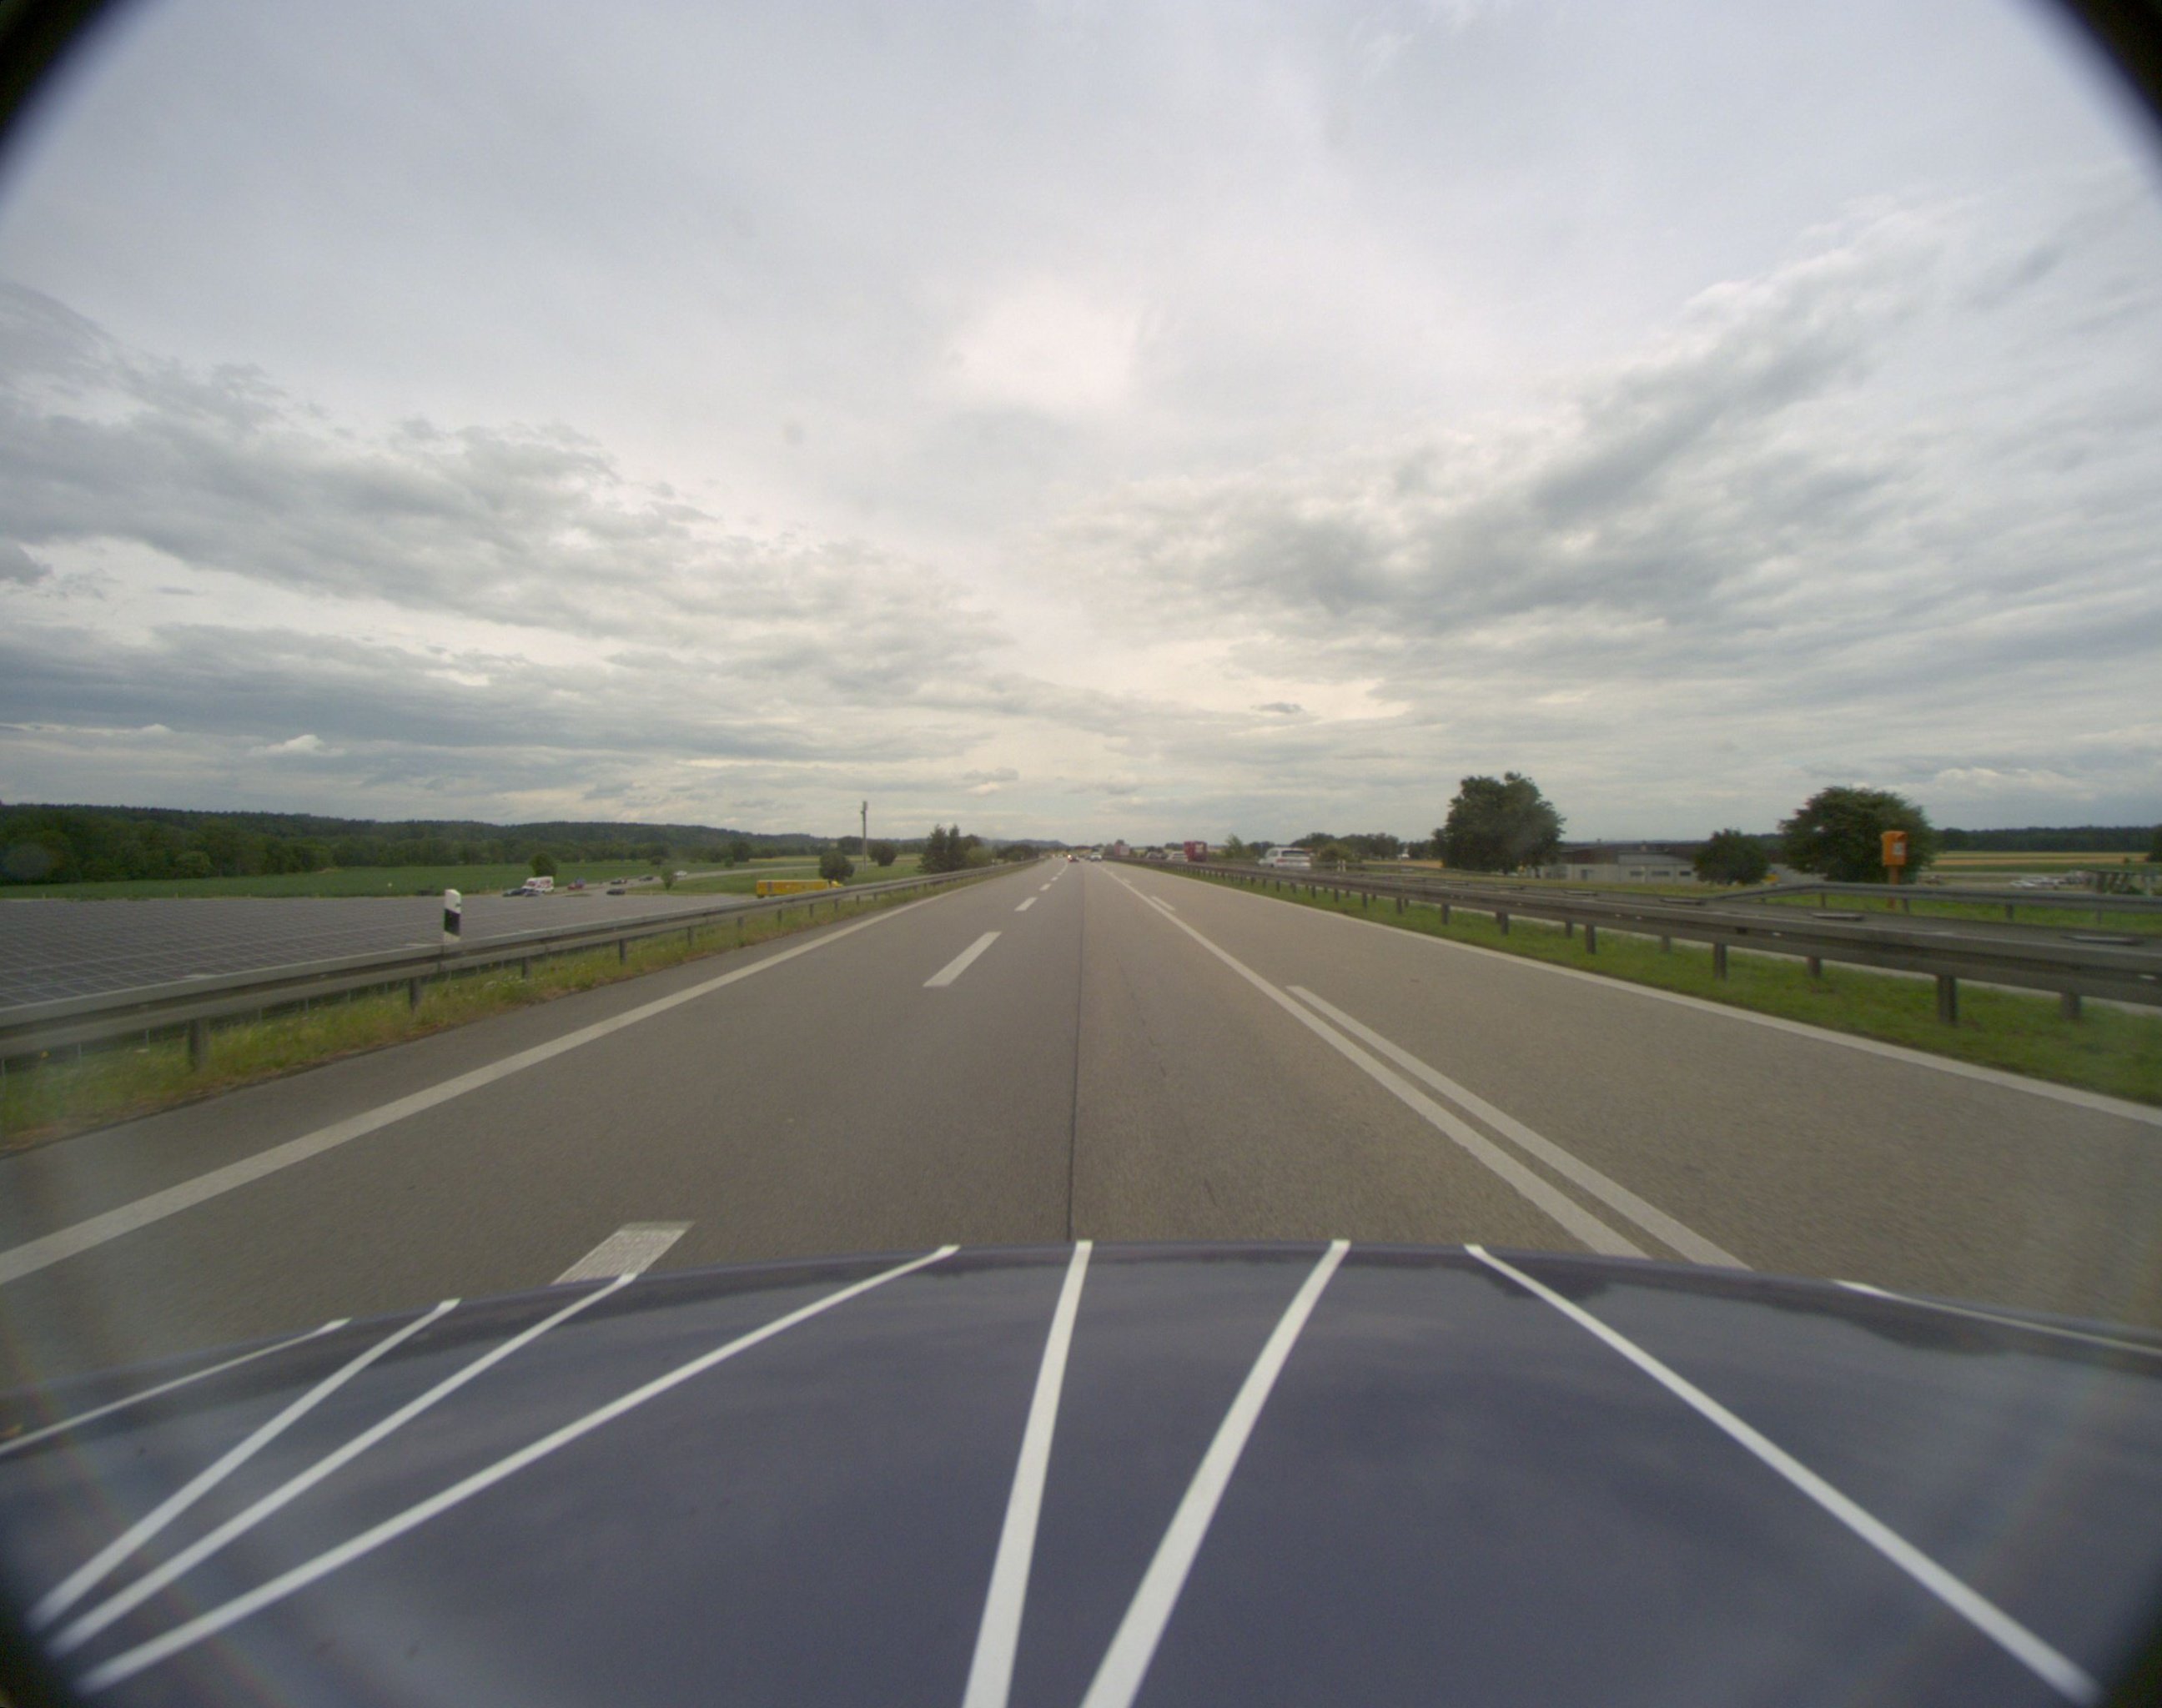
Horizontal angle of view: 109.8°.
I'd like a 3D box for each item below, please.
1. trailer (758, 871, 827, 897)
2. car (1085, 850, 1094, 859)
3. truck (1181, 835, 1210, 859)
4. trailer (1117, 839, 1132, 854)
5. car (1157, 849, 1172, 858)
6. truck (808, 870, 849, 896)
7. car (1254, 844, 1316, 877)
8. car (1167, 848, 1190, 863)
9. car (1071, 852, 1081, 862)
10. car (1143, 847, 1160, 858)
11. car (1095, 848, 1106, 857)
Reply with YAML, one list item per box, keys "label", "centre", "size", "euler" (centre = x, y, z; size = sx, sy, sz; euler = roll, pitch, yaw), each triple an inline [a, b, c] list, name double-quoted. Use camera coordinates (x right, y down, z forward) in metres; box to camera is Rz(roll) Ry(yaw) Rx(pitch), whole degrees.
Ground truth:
- label: "trailer"
  centre: [-56.408, 5.831, 148.825]
  size: [12.304, 4.760, 3.018]
  euler: [-1, 0, -4]
- label: "car"
  centre: [1.968, 0.103, 176.181]
  size: [1.998, 2.002, 4.000]
  euler: [-2, 1, 2]
- label: "truck"
  centre: [18.187, -1.127, 121.585]
  size: [2.675, 3.516, 11.075]
  euler: [1, 1, -1]
- label: "trailer"
  centre: [12.078, -2.045, 211.322]
  size: [2.916, 3.918, 13.973]
  euler: [-2, 1, -1]
- label: "car"
  centre: [13.538, -0.085, 123.125]
  size: [1.830, 1.338, 4.783]
  euler: [0, 0, 0]
- label: "truck"
  centre: [-49.591, 5.683, 149.281]
  size: [7.137, 4.760, 3.018]
  euler: [-1, 0, -4]
- label: "car"
  centre: [10.278, 0.303, 38.713]
  size: [1.896, 1.579, 4.762]
  euler: [0, 0, 0]
- label: "car"
  centre: [10.311, 0.132, 80.423]
  size: [1.858, 1.579, 4.816]
  euler: [0, 0, 0]
- label: "car"
  centre: [-0.968, 0.599, 139.933]
  size: [1.851, 1.850, 3.999]
  euler: [0, 0, -1]
- label: "car"
  centre: [10.172, -0.232, 109.916]
  size: [1.896, 1.579, 4.762]
  euler: [0, 0, 0]
- label: "car"
  centre: [3.469, -0.303, 136.128]
  size: [1.850, 1.665, 4.200]
  euler: [0, 0, 2]
